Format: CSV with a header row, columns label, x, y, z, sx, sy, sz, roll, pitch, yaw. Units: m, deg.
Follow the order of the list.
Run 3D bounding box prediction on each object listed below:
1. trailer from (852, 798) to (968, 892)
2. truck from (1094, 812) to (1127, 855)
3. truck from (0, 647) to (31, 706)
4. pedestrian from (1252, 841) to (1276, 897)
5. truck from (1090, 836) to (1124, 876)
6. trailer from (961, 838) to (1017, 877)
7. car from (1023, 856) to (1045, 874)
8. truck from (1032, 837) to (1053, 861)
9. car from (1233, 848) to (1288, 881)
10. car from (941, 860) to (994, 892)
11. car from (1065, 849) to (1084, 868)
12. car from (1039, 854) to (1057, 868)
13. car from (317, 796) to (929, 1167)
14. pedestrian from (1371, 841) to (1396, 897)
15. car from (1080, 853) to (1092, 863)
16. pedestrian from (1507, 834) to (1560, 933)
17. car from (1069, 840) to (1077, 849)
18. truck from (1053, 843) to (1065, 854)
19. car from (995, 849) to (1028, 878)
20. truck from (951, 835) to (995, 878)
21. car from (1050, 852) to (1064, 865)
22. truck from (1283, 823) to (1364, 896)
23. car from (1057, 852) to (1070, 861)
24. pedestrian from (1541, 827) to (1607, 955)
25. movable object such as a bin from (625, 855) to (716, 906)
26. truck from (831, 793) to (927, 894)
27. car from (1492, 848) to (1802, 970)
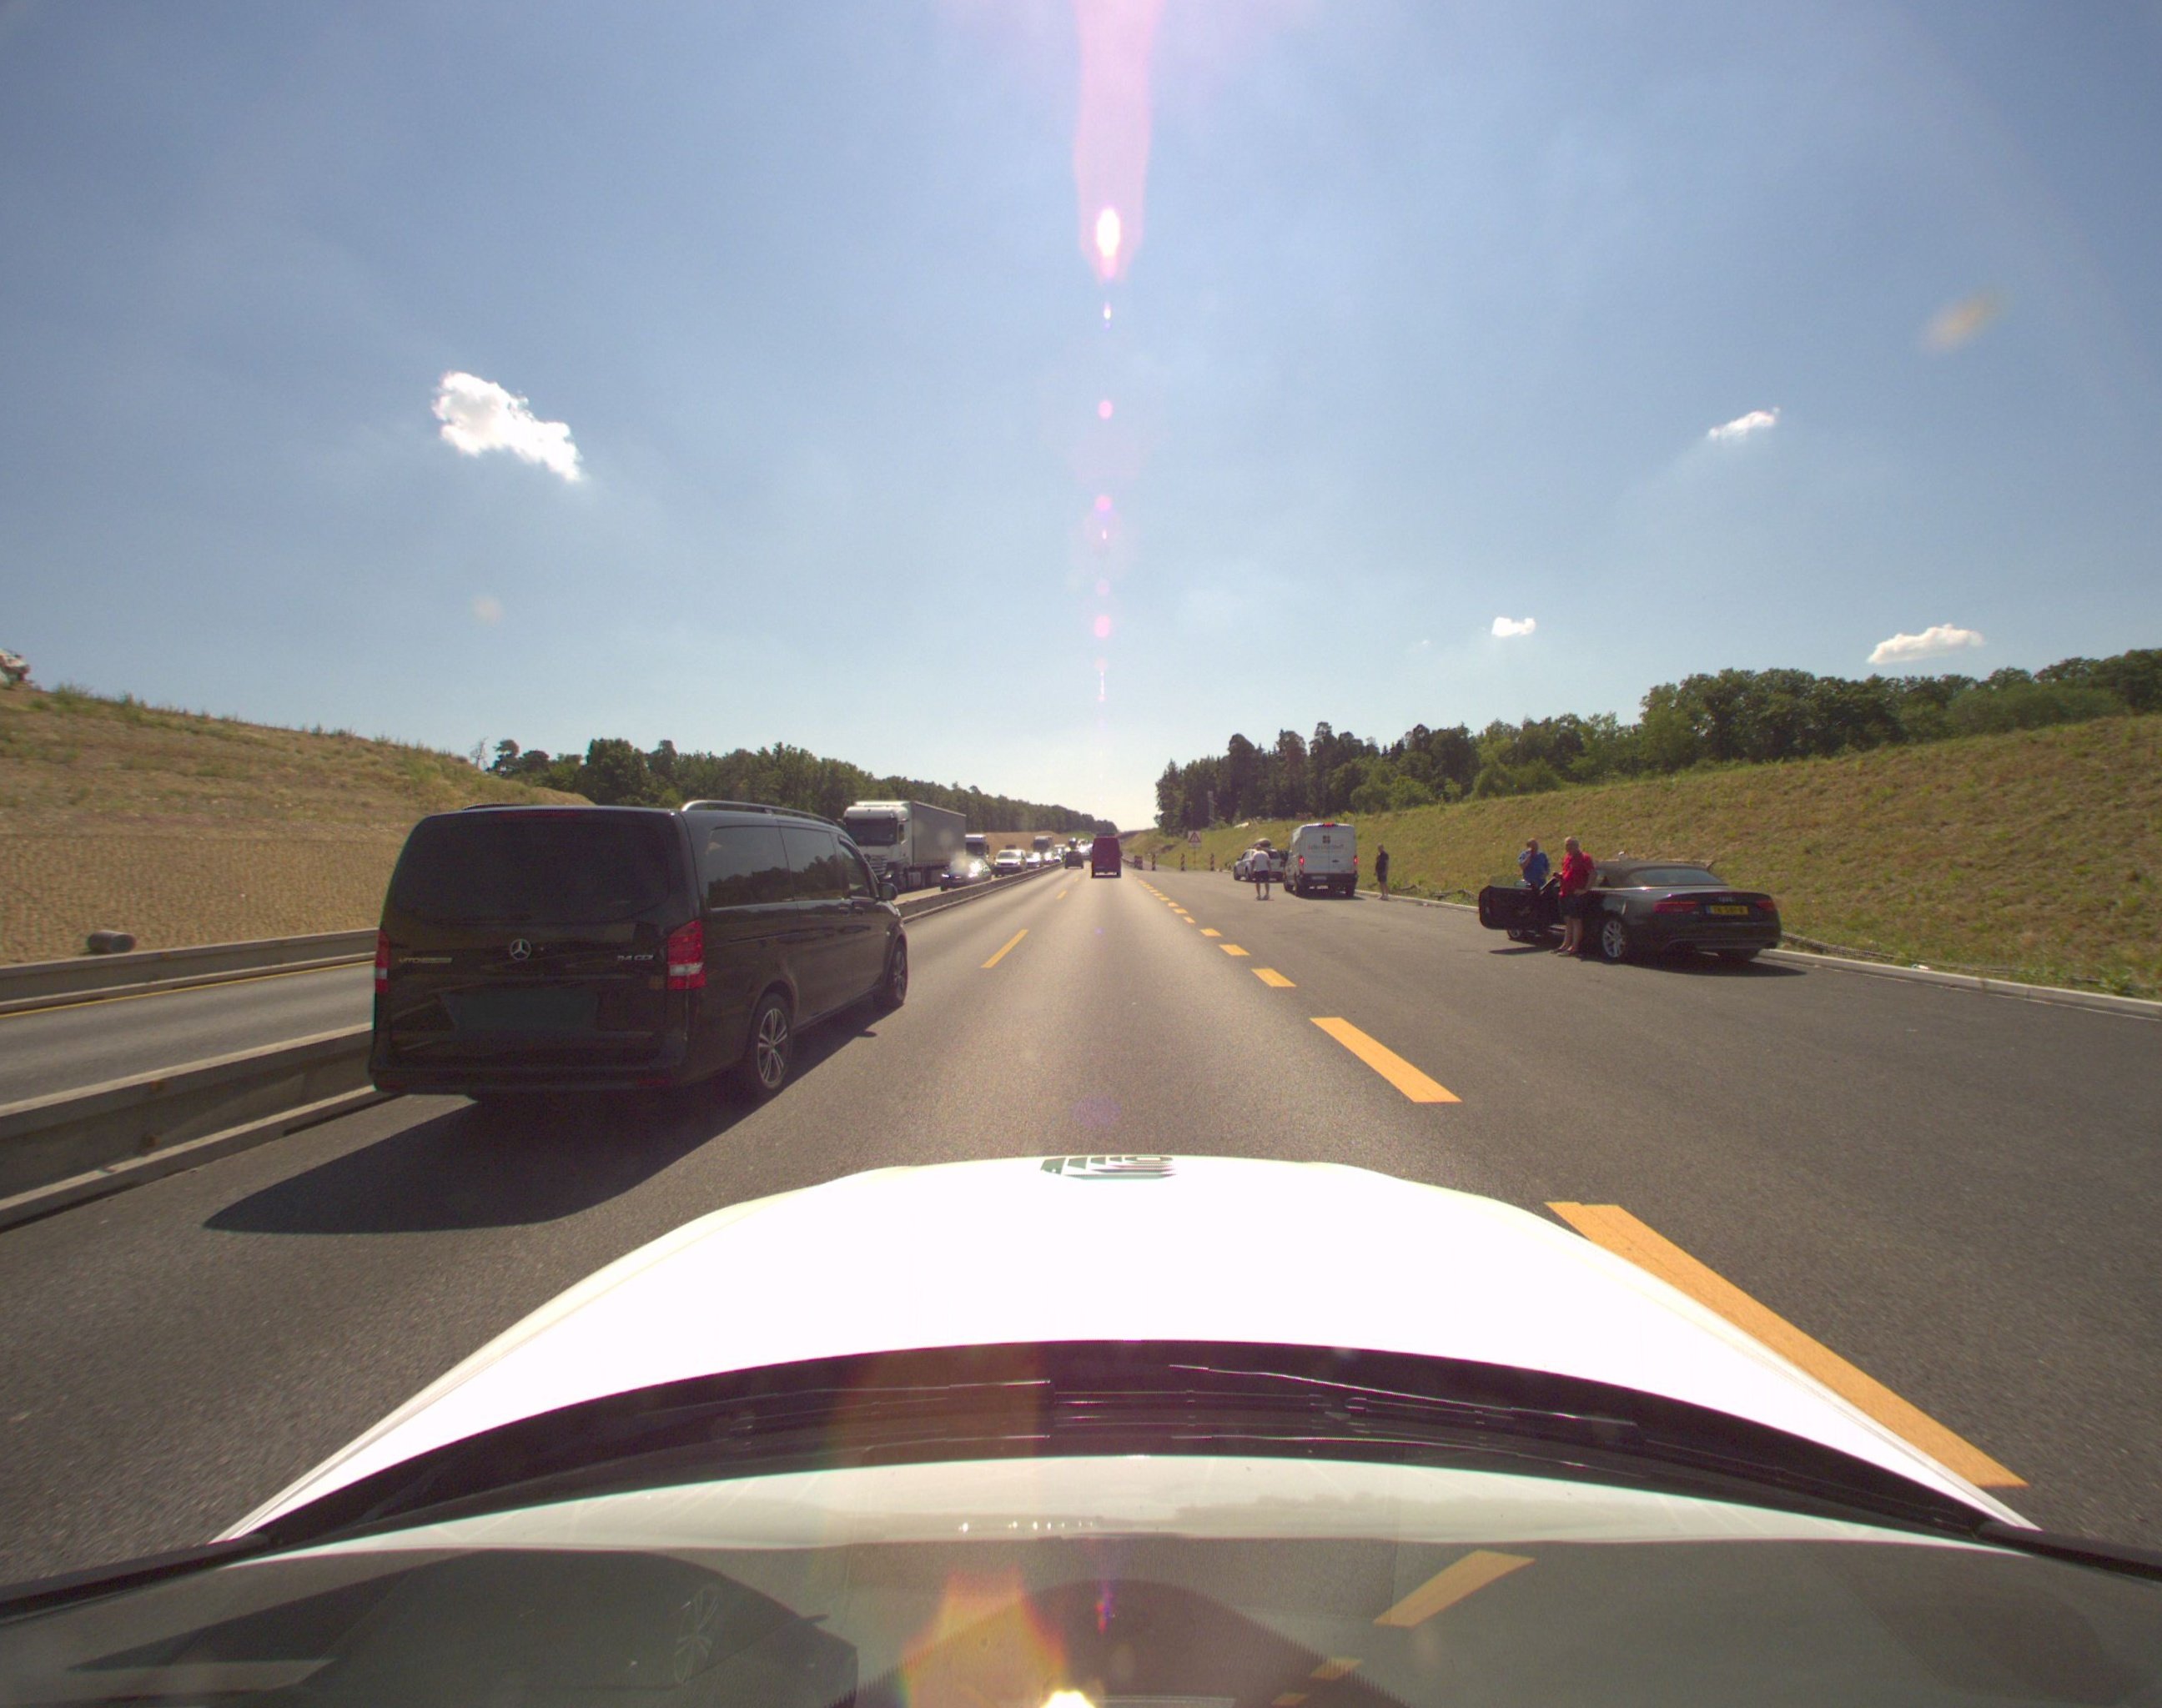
label,x,y,z,sx,sy,sz,roll,pitch,yaw
trailer,-8.420,-0.385,42.367,2.780,4.075,13.715,0,0,1
truck,4.223,-2.801,118.345,4.384,5.496,16.608,0,-1,2
truck,-60.727,-10.205,43.940,2.311,2.749,8.812,1,-1,-34
pedestrian,6.110,0.506,27.210,0.719,1.828,0.721,0,-1,6
truck,1.708,0.161,54.882,2.145,2.590,5.334,0,-1,1
trailer,-7.442,0.326,68.353,2.337,2.932,15.279,0,0,3
car,-4.258,1.011,74.036,1.719,1.630,4.391,0,-1,0
truck,-6.168,-0.761,130.455,2.499,3.617,9.646,0,-1,2
car,9.584,0.520,43.879,1.770,1.677,4.852,0,1,-2
car,-5.113,0.990,37.150,1.721,1.387,4.484,0,-1,1
car,-0.607,0.450,81.304,1.745,1.824,4.784,0,0,2
car,-3.769,0.785,92.493,1.618,1.557,4.072,0,-1,3
car,-2.807,0.656,6.815,1.867,1.851,5.480,0,0,2
pedestrian,9.862,0.478,26.591,0.561,1.795,0.667,0,-1,0
car,0.765,0.583,121.780,1.824,1.522,3.962,0,-1,2
pedestrian,8.575,0.551,15.459,0.624,1.828,0.640,0,0,-10
car,-2.417,-2.800,244.765,2.377,2.580,3.999,0,-1,0
truck,-4.903,-1.236,185.663,2.390,2.358,5.229,0,-1,2
car,-4.895,0.698,58.073,1.819,1.927,5.264,0,-1,1
truck,-7.934,0.244,60.347,2.389,3.059,5.065,0,-1,2
car,-3.230,0.611,110.021,1.677,1.596,3.225,0,-1,1
truck,8.901,0.179,30.386,2.117,2.457,5.940,0,0,9
car,-2.834,0.391,133.377,1.834,1.327,3.945,0,-1,3
pedestrian,7.283,0.530,12.037,0.642,1.828,0.555,0,0,-20
movable object such as a bin,-27.994,1.715,55.921,2.160,3.109,7.169,-3,0,2
truck,-8.624,-0.372,35.347,2.758,4.044,4.945,0,-1,2
car,8.202,0.678,12.419,1.647,1.426,4.547,-3,0,2
